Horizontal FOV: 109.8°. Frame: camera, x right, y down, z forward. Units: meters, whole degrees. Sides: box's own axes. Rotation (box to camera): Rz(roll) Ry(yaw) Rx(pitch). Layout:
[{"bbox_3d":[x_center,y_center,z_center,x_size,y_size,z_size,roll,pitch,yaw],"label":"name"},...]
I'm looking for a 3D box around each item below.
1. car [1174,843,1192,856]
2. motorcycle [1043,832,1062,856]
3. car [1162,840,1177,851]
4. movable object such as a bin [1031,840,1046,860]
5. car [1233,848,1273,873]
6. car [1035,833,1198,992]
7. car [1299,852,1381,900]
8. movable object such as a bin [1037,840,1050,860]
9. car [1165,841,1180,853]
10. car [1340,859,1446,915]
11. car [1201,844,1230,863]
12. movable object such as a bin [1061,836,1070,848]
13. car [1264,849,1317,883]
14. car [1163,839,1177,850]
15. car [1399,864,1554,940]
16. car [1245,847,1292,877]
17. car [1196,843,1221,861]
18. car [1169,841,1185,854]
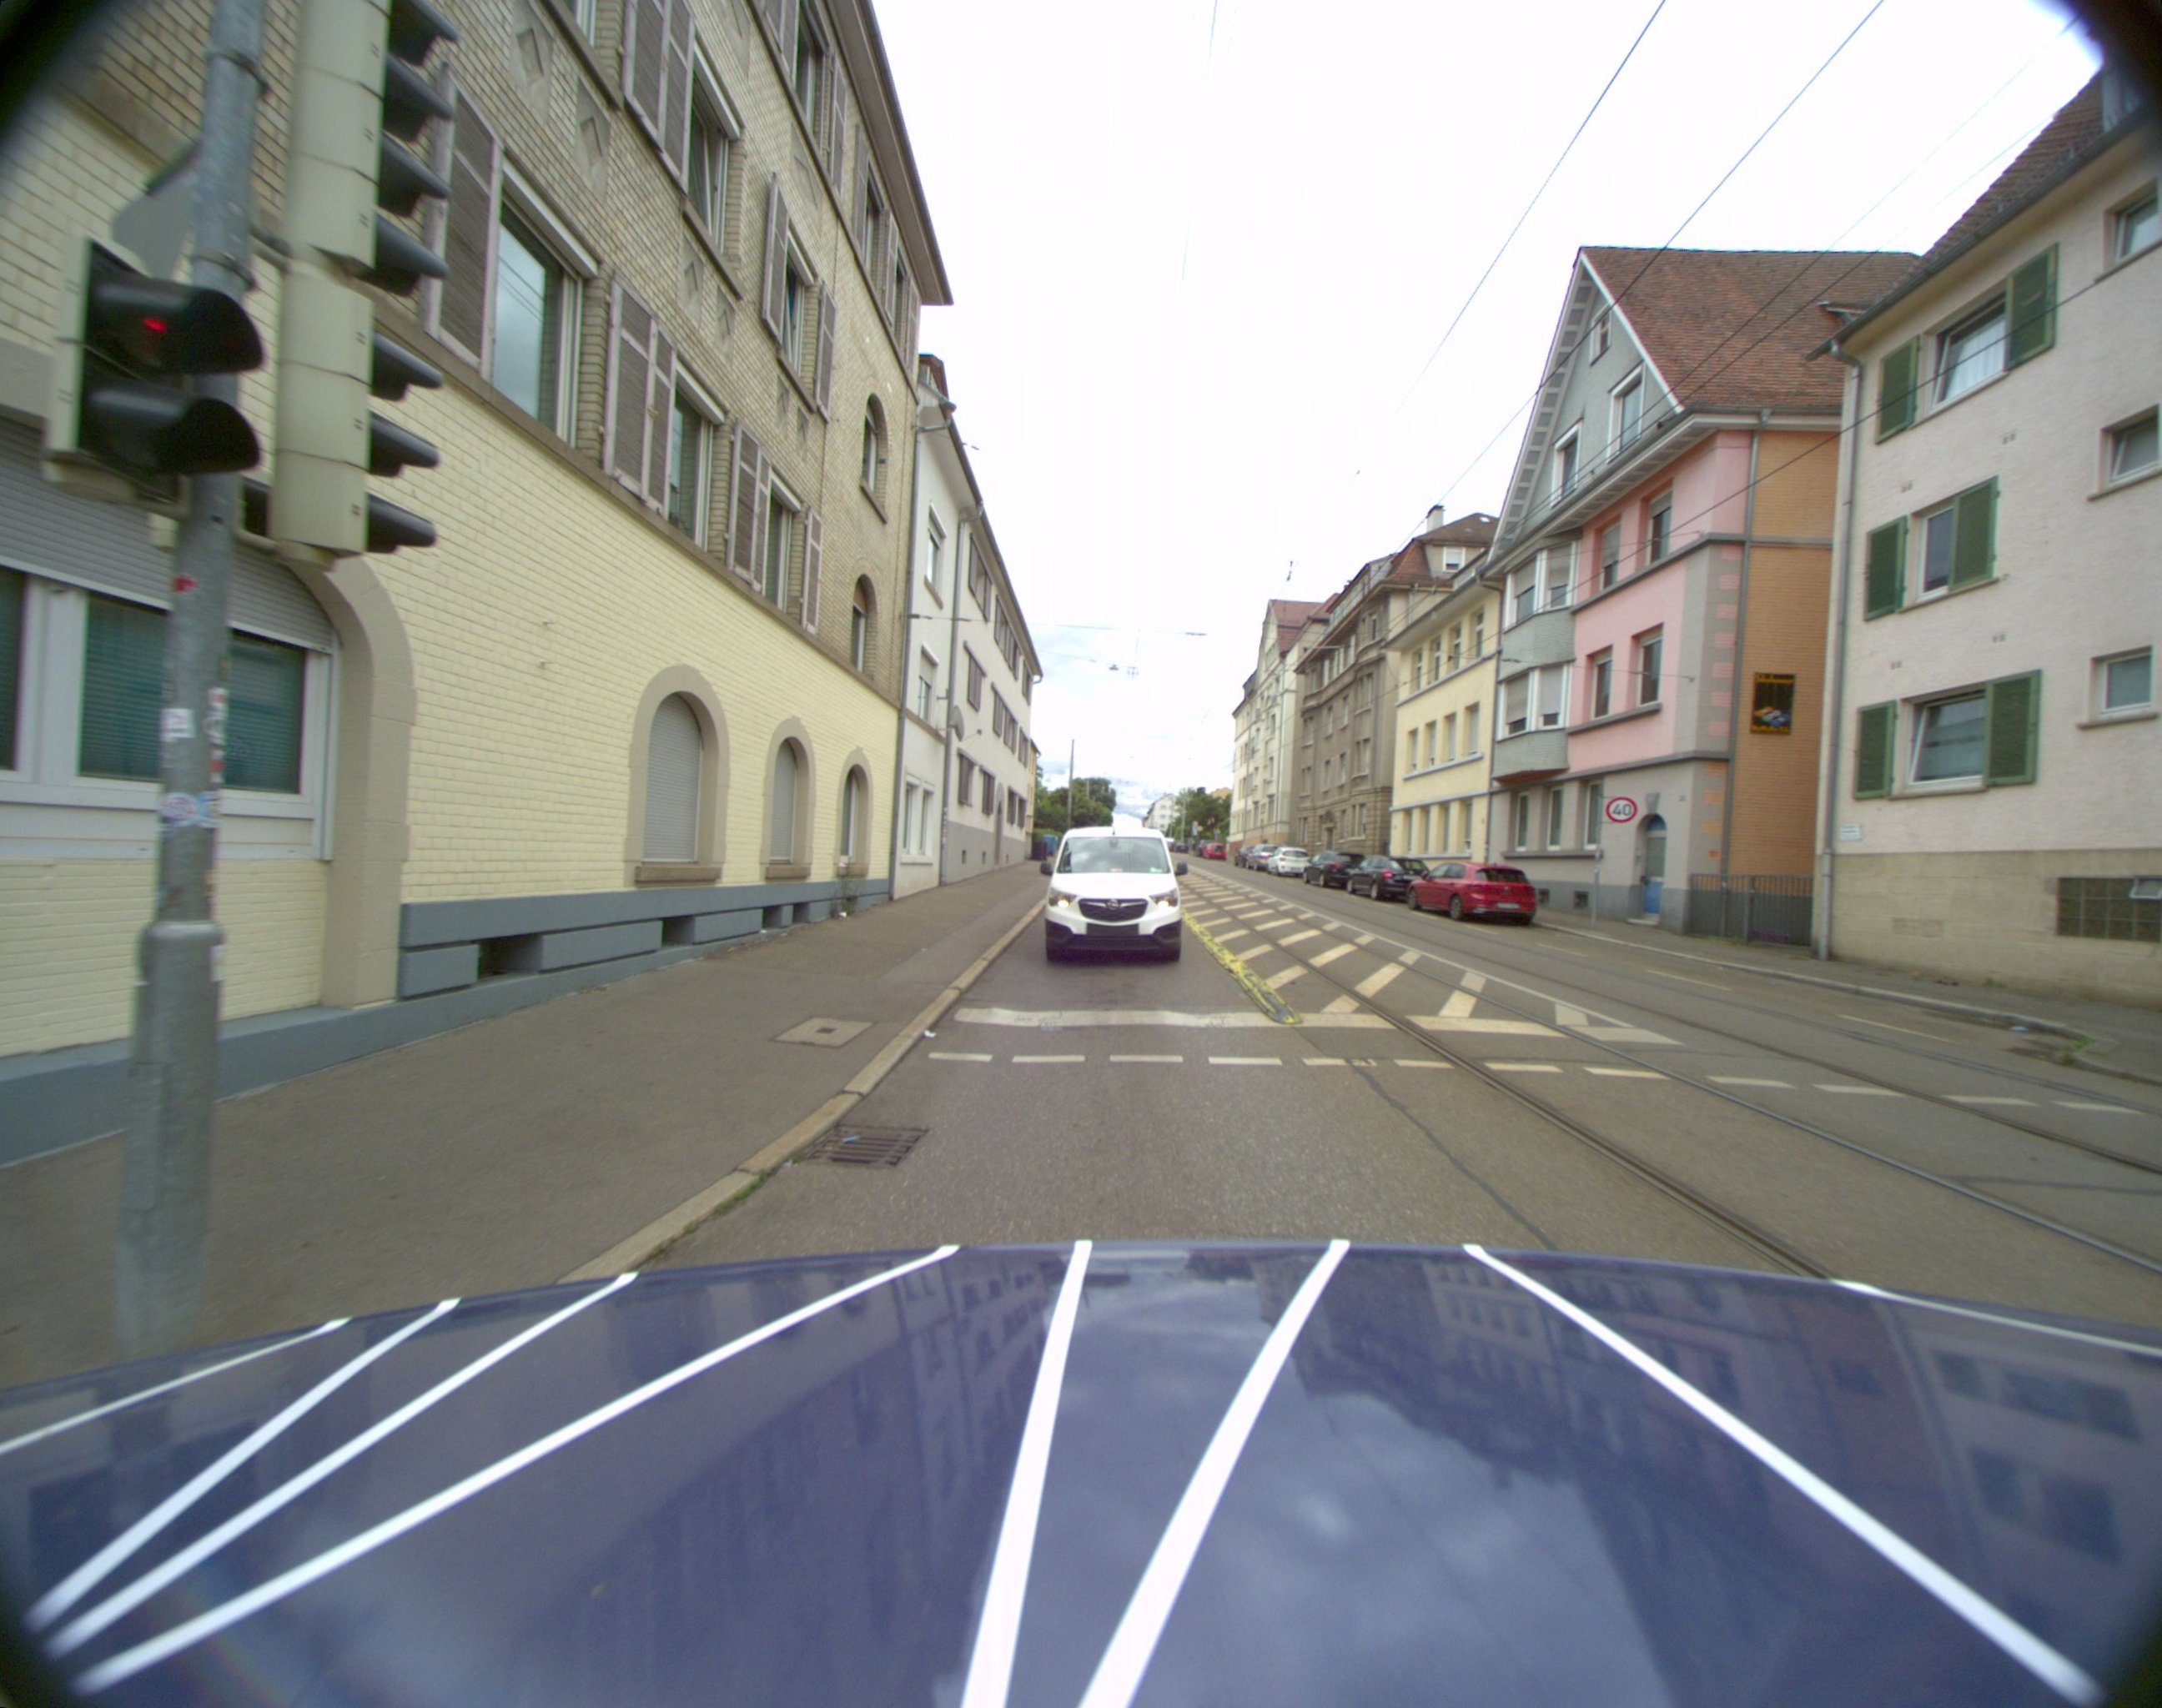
[{"bbox_3d":[13.345,-0.611,99.408,1.743,1.517,3.951,4,2,1],"label":"car"},{"bbox_3d":[-1.782,-0.614,47.968,0.731,1.382,1.937,6,2,9],"label":"motorcycle"},{"bbox_3d":[13.624,-1.316,117.296,1.743,1.517,3.951,4,2,1],"label":"car"},{"bbox_3d":[-2.221,-0.224,40.006,0.637,1.003,0.602,5,1,3],"label":"movable object such as a bin"},{"bbox_3d":[11.206,0.387,49.807,1.743,1.373,4.044,2,2,1],"label":"car"},{"bbox_3d":[0.532,0.671,11.483,1.887,1.828,4.677,3,1,3],"label":"car"},{"bbox_3d":[10.185,0.807,30.267,1.789,1.502,4.525,4,2,3],"label":"car"},{"bbox_3d":[-2.026,-0.236,40.866,0.565,1.003,0.498,5,1,-6],"label":"movable object such as a bin"},{"bbox_3d":[13.448,-1.089,112.236,1.743,1.517,3.951,4,2,1],"label":"car"},{"bbox_3d":[10.102,1.009,24.959,1.789,1.403,4.241,4,2,3],"label":"car"},{"bbox_3d":[12.187,-0.059,68.954,1.743,1.450,3.950,4,2,-2],"label":"car"},{"bbox_3d":[-1.333,-1.024,65.105,0.669,1.053,0.539,1,1,3],"label":"movable object such as a bin"},{"bbox_3d":[10.797,0.585,39.394,1.742,1.502,3.800,3,2,3],"label":"car"},{"bbox_3d":[14.400,-1.573,123.120,1.743,1.517,3.951,4,2,1],"label":"car"},{"bbox_3d":[9.918,1.120,19.486,1.789,1.430,4.261,4,2,3],"label":"car"},{"bbox_3d":[10.996,0.419,44.810,1.743,1.558,4.142,2,2,1],"label":"car"},{"bbox_3d":[12.301,-0.230,73.743,1.743,1.517,3.951,4,2,1],"label":"car"},{"bbox_3d":[13.279,-0.914,105.570,1.742,1.517,3.951,4,2,3],"label":"car"}]
